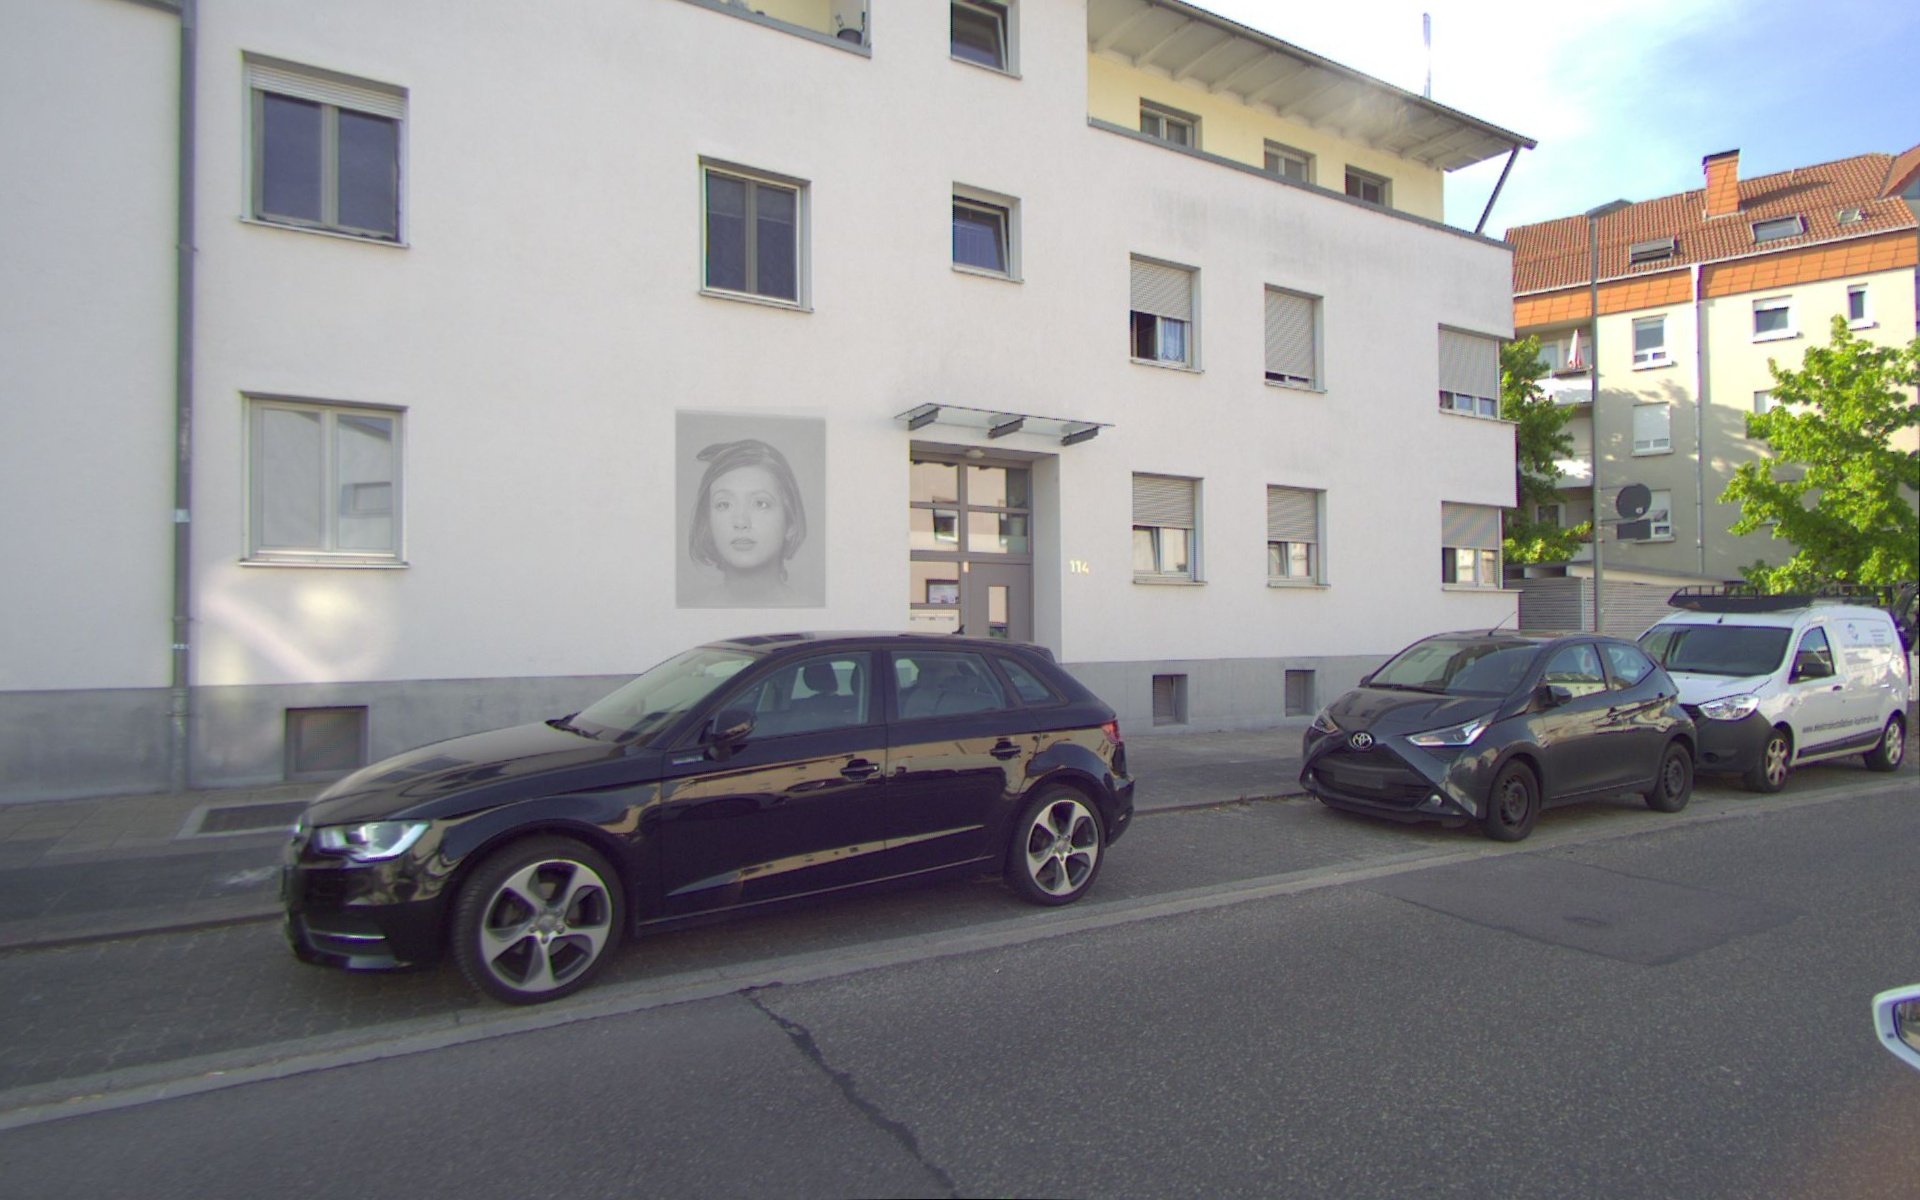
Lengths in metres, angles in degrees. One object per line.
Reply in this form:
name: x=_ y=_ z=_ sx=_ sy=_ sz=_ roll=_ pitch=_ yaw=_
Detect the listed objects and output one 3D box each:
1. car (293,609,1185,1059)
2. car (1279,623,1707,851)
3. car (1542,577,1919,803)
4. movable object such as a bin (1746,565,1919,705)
car: x=-0.934 y=0.822 z=5.256 sx=4.219 sy=1.497 sz=1.717 roll=1 pitch=-1 yaw=-34
car: x=4.351 y=0.931 z=8.099 sx=3.473 sy=1.484 sz=1.485 roll=1 pitch=-1 yaw=-31
car: x=8.317 y=0.821 z=10.675 sx=4.384 sy=1.987 sz=1.720 roll=1 pitch=-1 yaw=-29
movable object such as a bin: x=20.831 y=0.738 z=21.971 sx=2.095 sy=2.939 sz=5.451 roll=0 pitch=0 yaw=-40
